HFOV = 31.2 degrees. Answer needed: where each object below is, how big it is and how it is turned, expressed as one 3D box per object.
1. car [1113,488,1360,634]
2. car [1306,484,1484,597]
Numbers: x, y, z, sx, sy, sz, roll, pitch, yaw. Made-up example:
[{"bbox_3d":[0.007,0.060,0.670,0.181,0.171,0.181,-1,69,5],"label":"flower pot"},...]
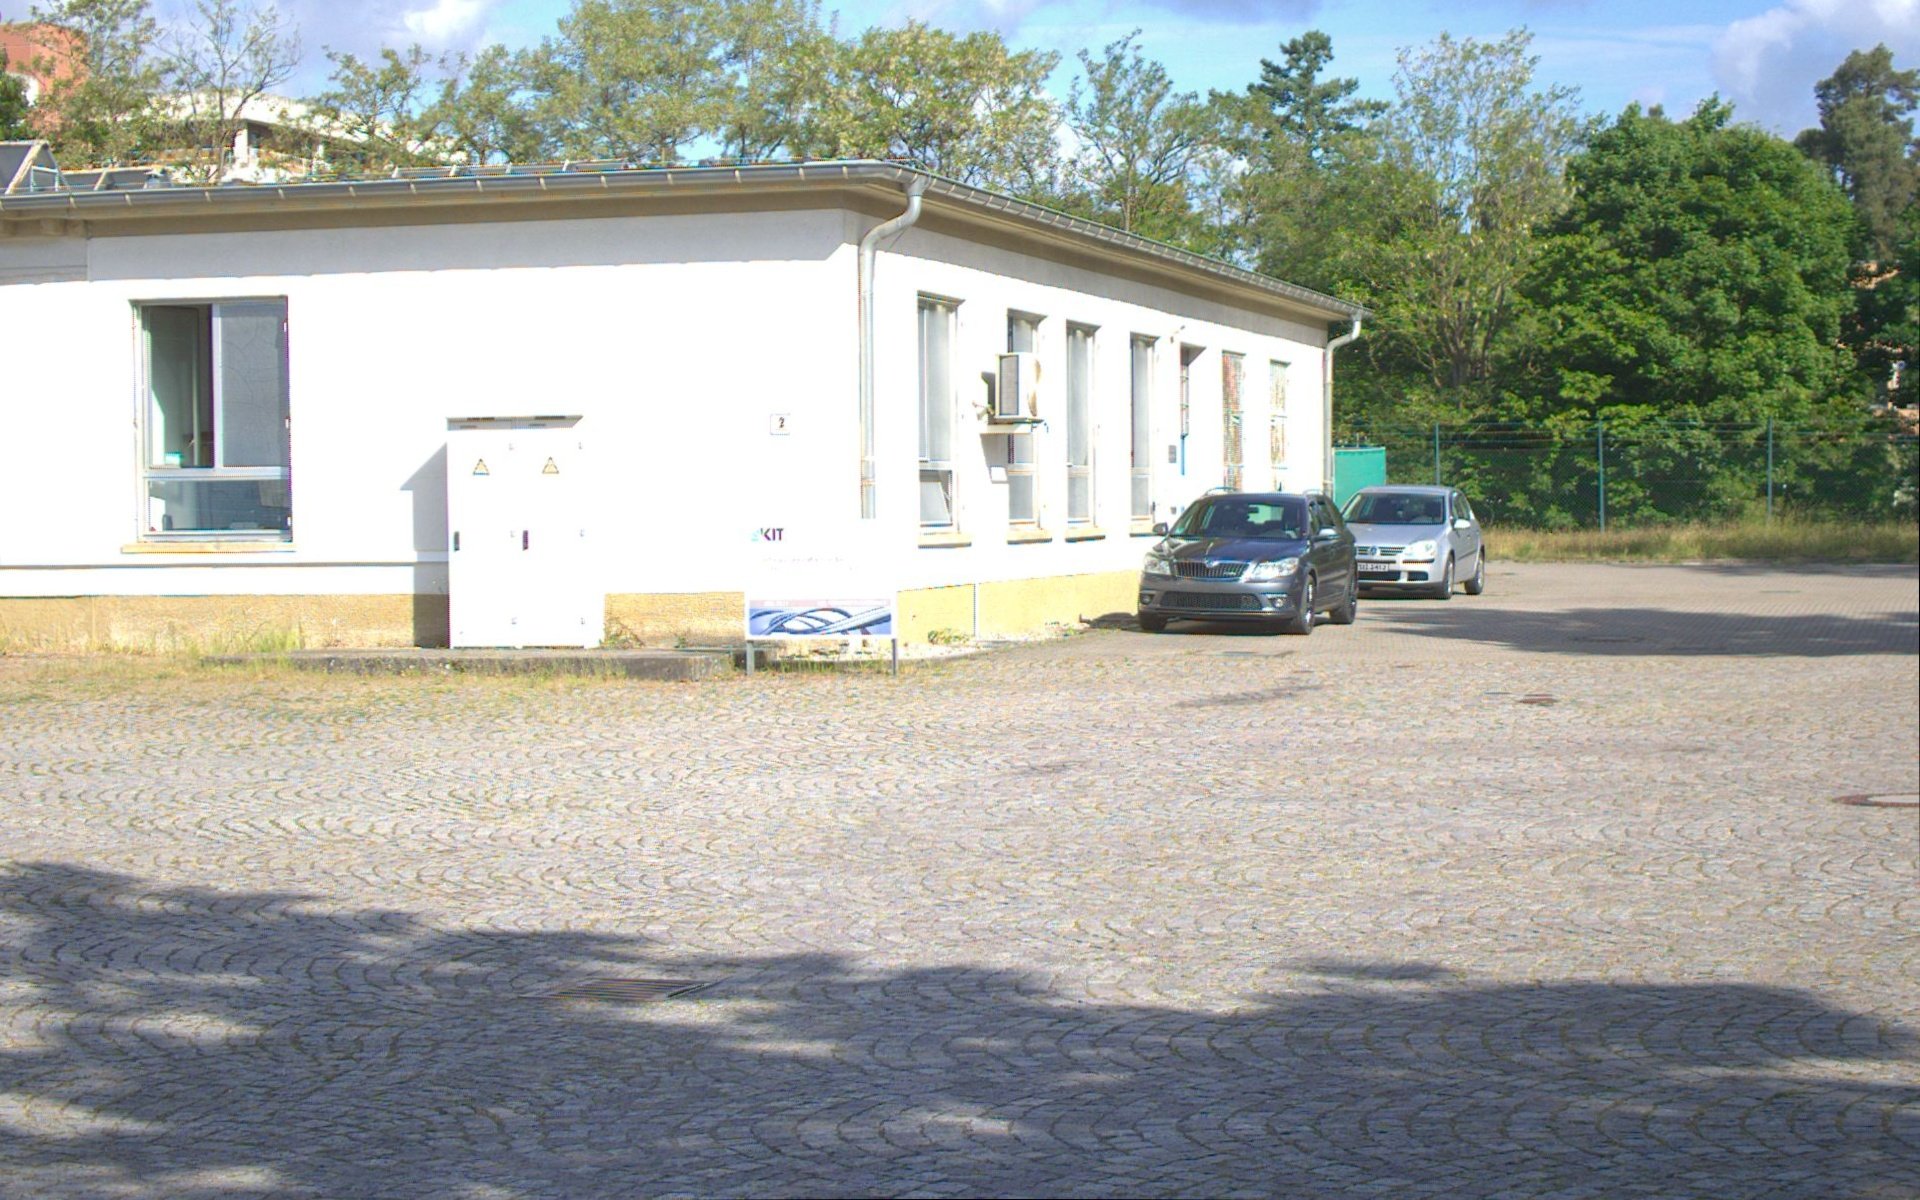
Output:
[{"bbox_3d":[2.949,-0.455,35.957,1.765,1.430,3.989,0,2,17],"label":"car"},{"bbox_3d":[5.818,-0.819,45.617,1.688,1.430,3.984,0,2,17],"label":"car"}]
